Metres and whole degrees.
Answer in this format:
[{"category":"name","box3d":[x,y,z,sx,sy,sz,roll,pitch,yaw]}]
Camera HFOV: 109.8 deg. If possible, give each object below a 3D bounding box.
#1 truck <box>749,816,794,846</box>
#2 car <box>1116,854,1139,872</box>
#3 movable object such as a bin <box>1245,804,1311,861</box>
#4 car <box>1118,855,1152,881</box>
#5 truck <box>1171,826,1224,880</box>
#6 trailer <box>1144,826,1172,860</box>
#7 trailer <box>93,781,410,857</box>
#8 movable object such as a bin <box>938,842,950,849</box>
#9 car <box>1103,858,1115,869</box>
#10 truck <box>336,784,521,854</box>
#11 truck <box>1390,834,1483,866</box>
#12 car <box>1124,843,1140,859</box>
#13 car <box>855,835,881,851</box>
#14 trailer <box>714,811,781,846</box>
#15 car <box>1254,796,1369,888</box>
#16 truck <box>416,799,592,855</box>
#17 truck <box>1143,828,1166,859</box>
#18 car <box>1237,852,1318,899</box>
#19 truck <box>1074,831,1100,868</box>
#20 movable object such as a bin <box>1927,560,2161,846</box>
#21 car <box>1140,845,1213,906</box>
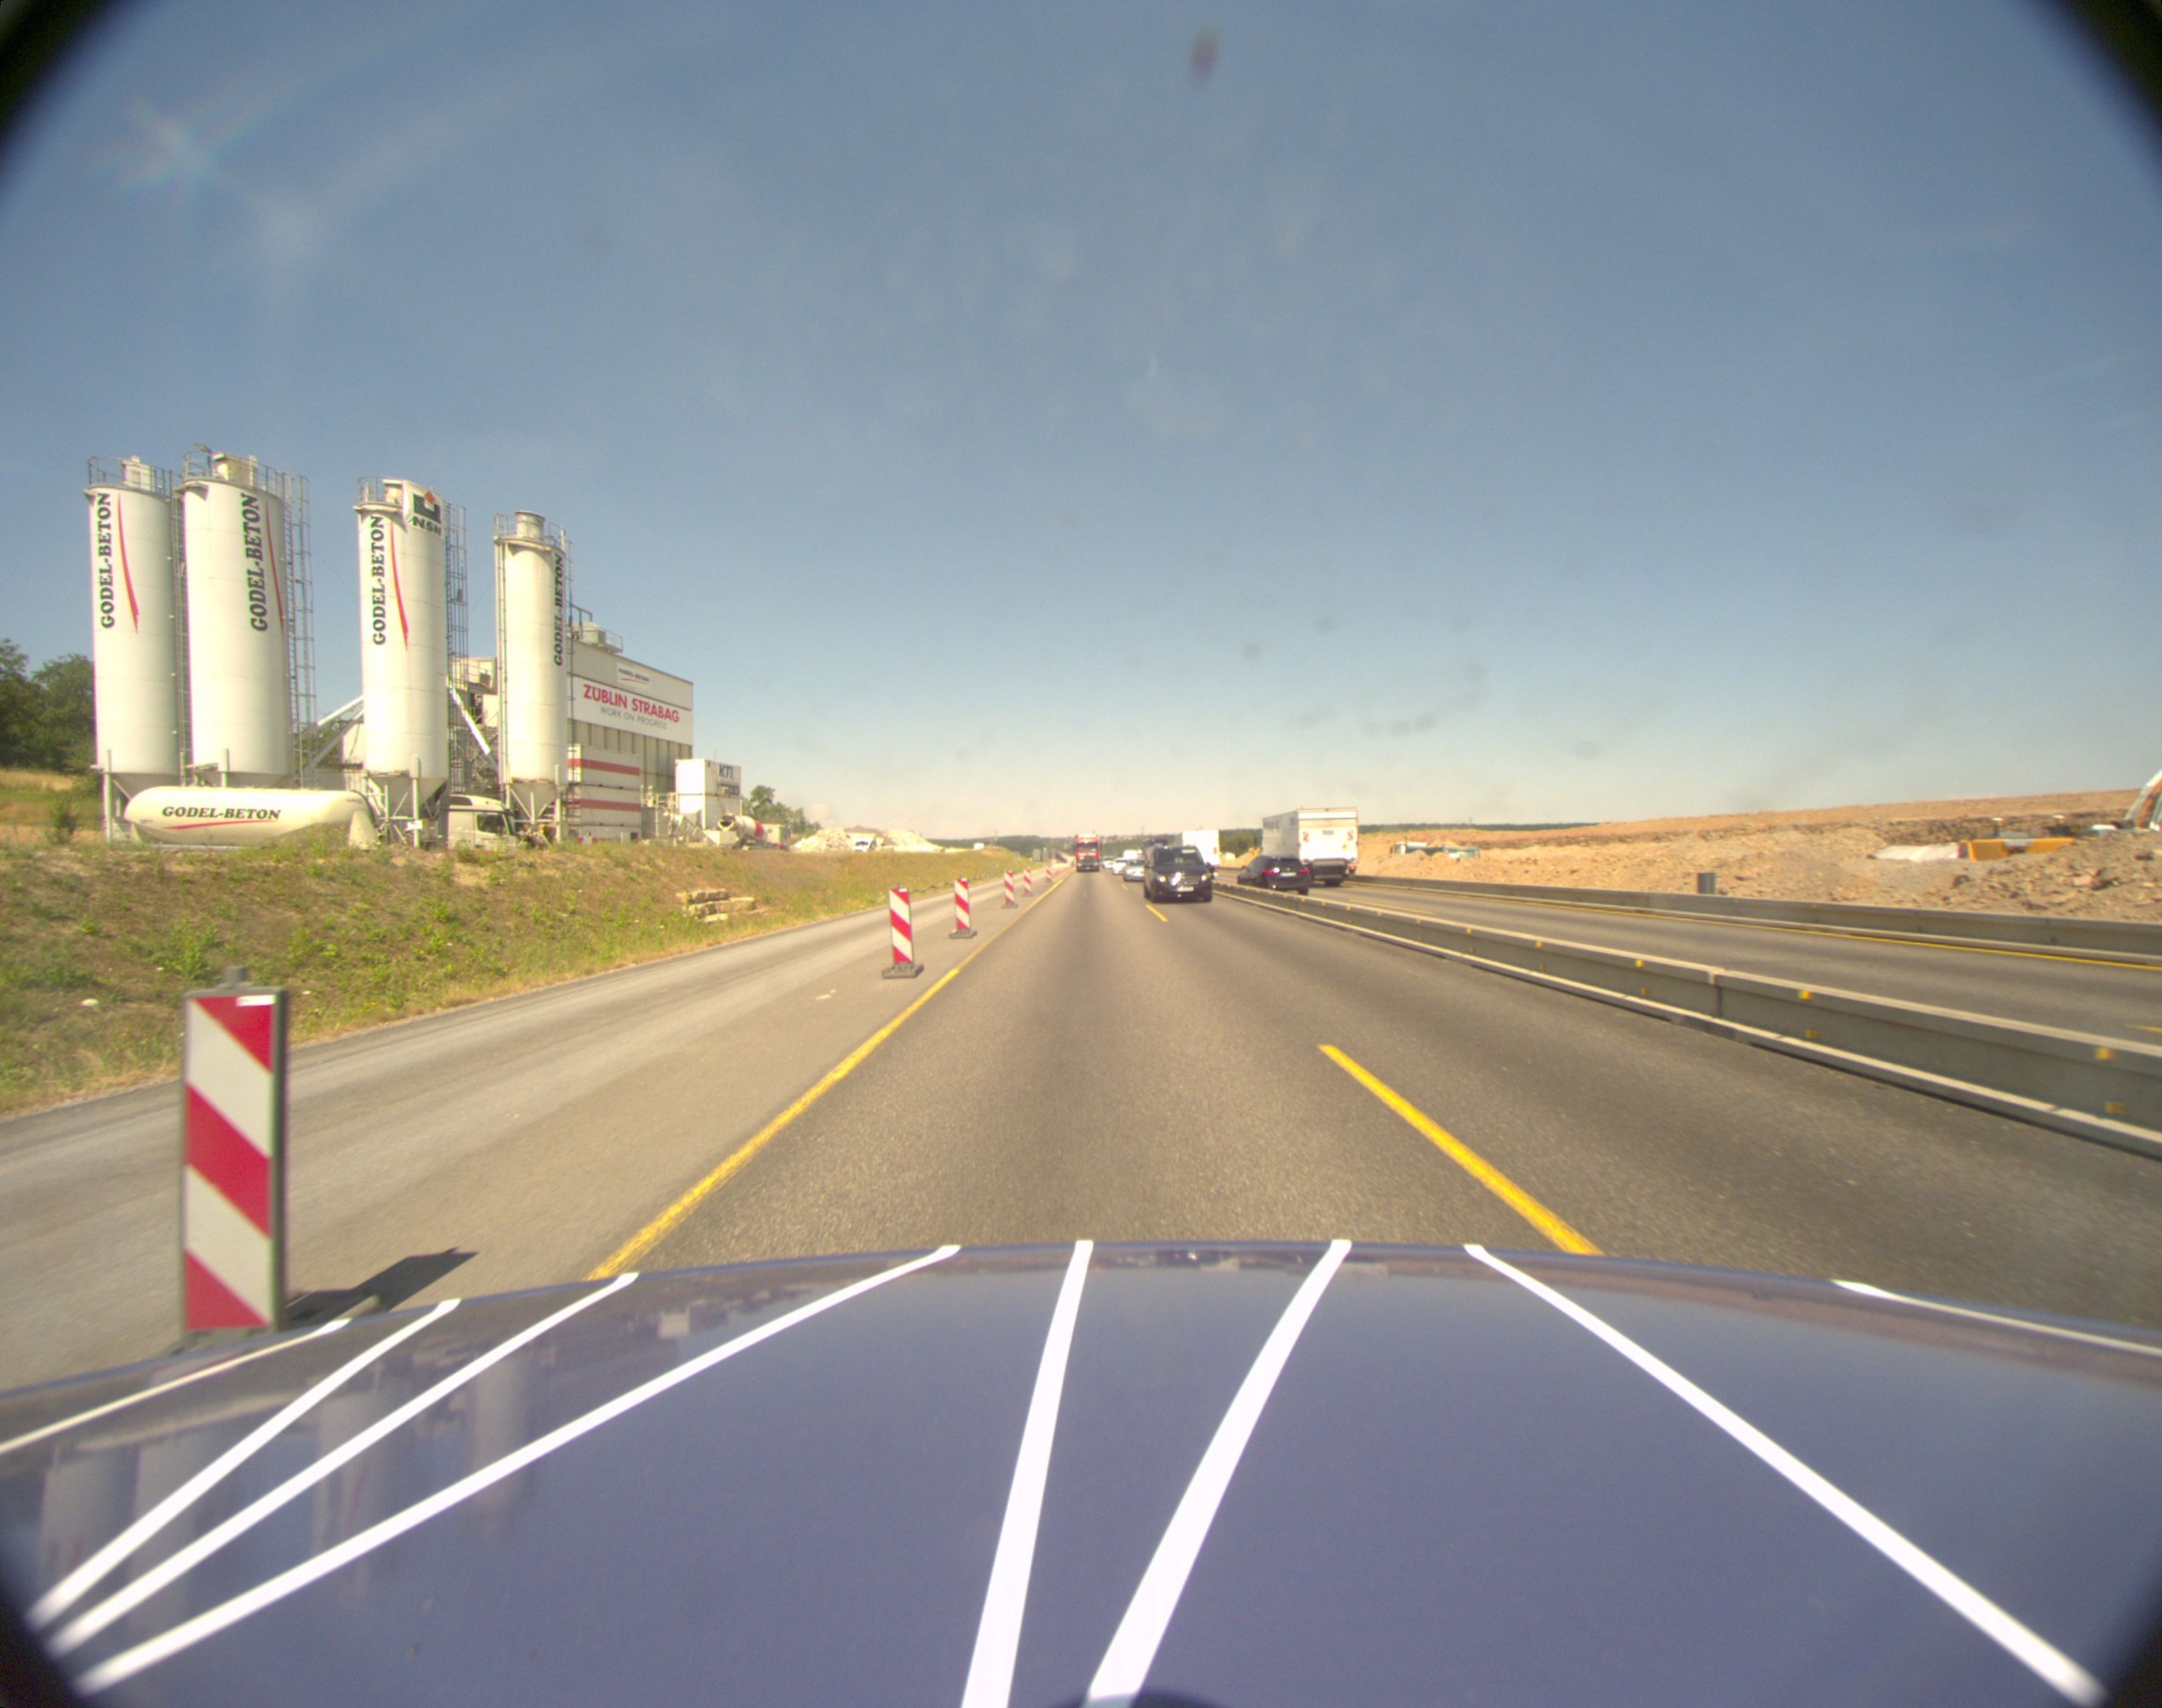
[{"category":"truck","box3d":[-27.467,-1.995,67.583,2.021,2.530,4.041,-2,1,4]},{"category":"car","box3d":[4.095,0.764,67.099,1.875,1.390,4.030,-2,1,1]},{"category":"movable object such as a bin","box3d":[25.772,-2.807,99.776,7.378,7.073,4.081,-2,1,1]},{"category":"car","box3d":[3.306,0.861,47.333,1.804,1.499,4.100,-2,0,0]},{"category":"truck","box3d":[7.403,-0.100,49.078,2.277,3.131,7.313,-2,1,0]},{"category":"trailer","box3d":[11.289,-1.592,112.381,2.992,4.569,12.883,-2,1,2]},{"category":"trailer","box3d":[-31.326,-1.297,28.966,8.919,2.592,2.463,-1,1,-3]},{"category":"movable object such as a bin","box3d":[-15.143,-0.941,84.193,0.838,0.678,2.249,-2,1,1]},{"category":"car","box3d":[3.992,1.398,109.752,1.601,1.390,3.695,-2,1,1]},{"category":"truck","box3d":[-25.905,-1.377,30.545,5.317,2.530,2.897,-3,1,-36]},{"category":"truck","box3d":[25.709,-0.323,55.501,2.568,2.046,8.802,-2,1,-1]},{"category":"car","box3d":[7.926,-0.483,118.768,2.040,2.329,6.196,-2,0,1]},{"category":"car","box3d":[-24.693,-1.299,88.143,1.990,1.752,3.601,-2,1,0]},{"category":"trailer","box3d":[-27.749,-2.059,63.565,1.998,2.629,6.937,-2,1,4]},{"category":"car","box3d":[10.485,-0.475,35.641,2.915,3.718,8.091,-2,0,1]},{"category":"truck","box3d":[-34.457,-1.571,45.474,9.090,2.852,2.460,-2,1,7]},{"category":"truck","box3d":[11.417,-1.657,118.866,2.972,4.625,6.243,-2,1,1]},{"category":"car","box3d":[7.066,0.721,27.806,1.793,1.473,4.561,-2,1,1]},{"category":"truck","box3d":[0.745,-0.479,84.134,2.537,3.798,9.481,-2,1,2]},{"category":"movable object such as a bin","box3d":[33.146,-3.901,19.753,18.266,6.733,3.388,-2,1,1]},{"category":"car","box3d":[3.198,0.660,26.458,1.878,1.840,5.478,-2,1,1]}]
